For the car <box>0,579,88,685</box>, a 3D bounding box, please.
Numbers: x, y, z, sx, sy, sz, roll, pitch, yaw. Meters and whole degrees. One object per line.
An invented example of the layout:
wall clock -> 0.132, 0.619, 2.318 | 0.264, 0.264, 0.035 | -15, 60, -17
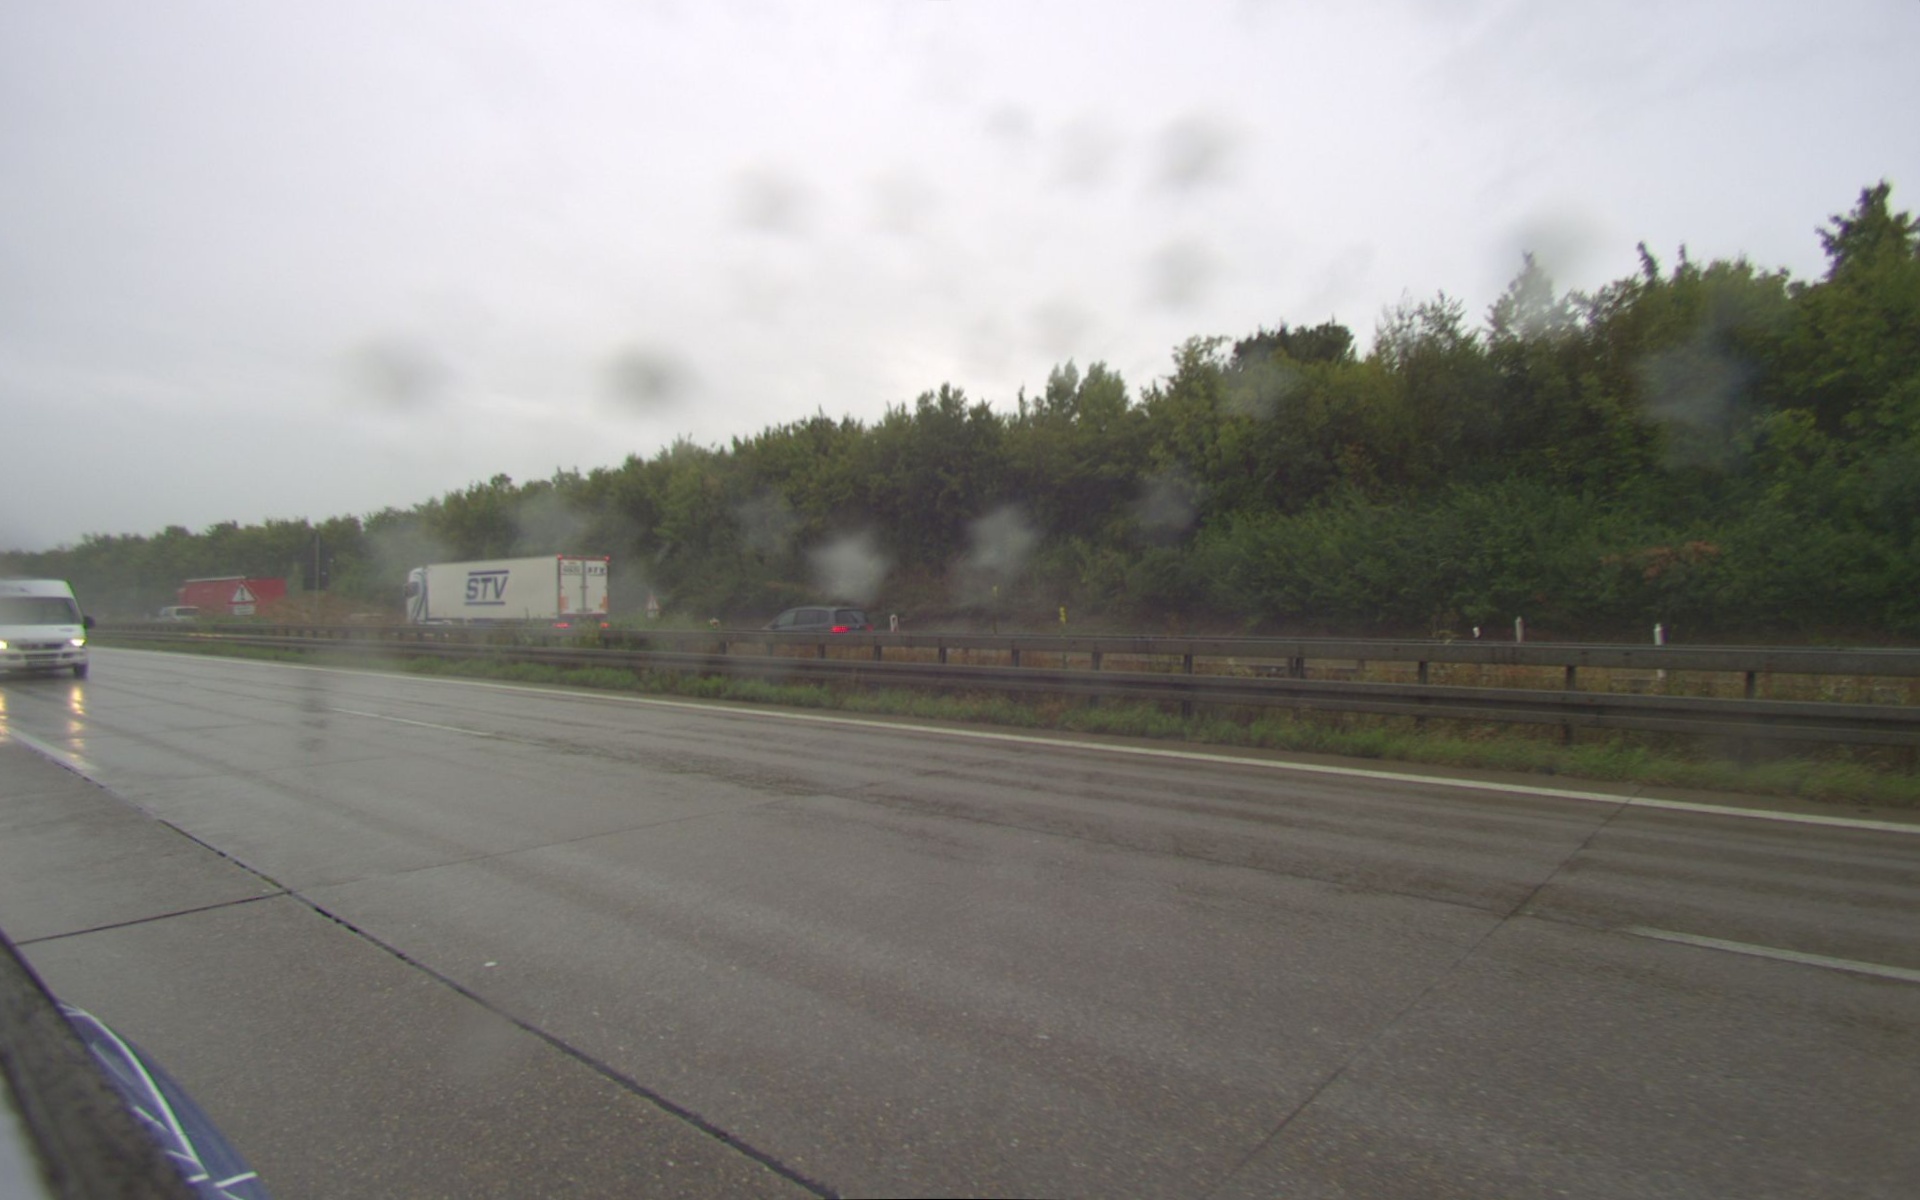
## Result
car -> -24.104, 0.786, 25.859 | 5.788, 2.450, 1.977 | -1, -1, 41

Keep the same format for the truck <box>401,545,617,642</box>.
truck -> -23.265, -0.145, 51.226 | 16.356, 4.277, 3.093 | -1, -1, 40

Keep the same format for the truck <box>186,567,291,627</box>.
truck -> -55.588, -0.131, 77.745 | 13.525, 4.277, 3.093 | -1, -1, 39

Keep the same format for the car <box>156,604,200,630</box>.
car -> -56.711, 1.248, 73.373 | 3.996, 1.785, 1.614 | -1, -1, 39

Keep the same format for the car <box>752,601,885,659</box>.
car -> -4.431, 0.896, 31.390 | 3.998, 1.671, 1.927 | -1, -1, 41
